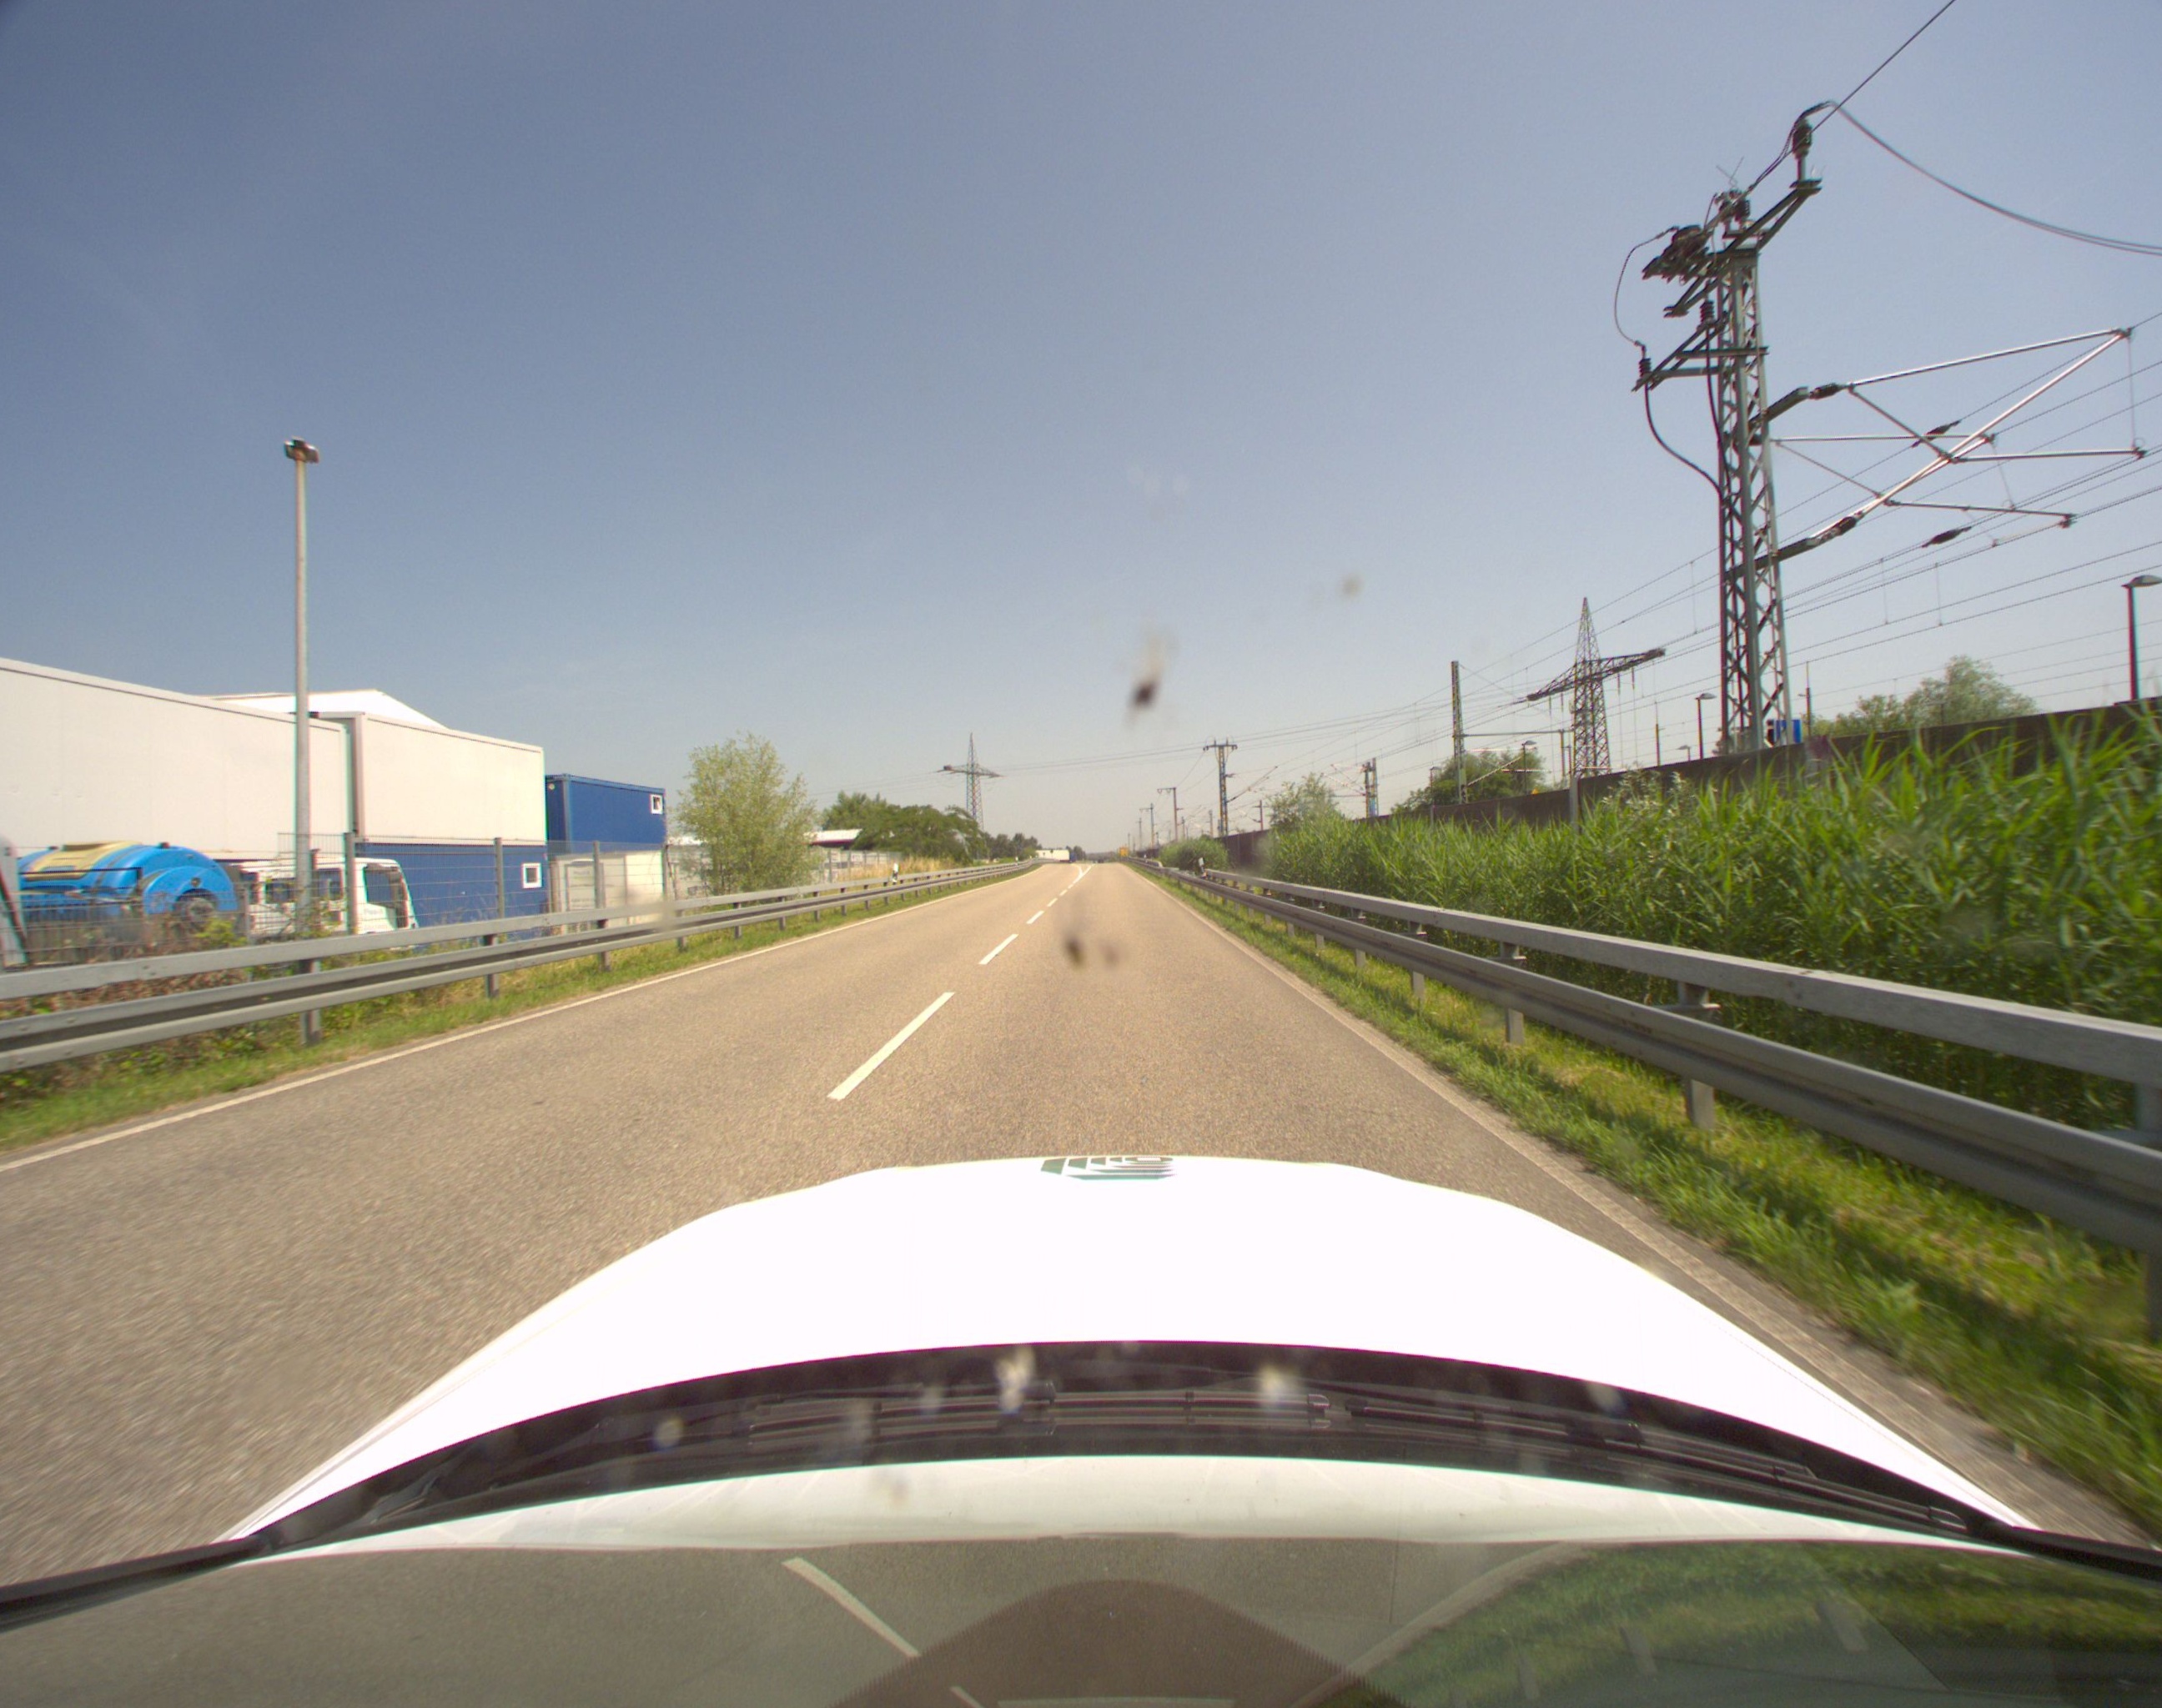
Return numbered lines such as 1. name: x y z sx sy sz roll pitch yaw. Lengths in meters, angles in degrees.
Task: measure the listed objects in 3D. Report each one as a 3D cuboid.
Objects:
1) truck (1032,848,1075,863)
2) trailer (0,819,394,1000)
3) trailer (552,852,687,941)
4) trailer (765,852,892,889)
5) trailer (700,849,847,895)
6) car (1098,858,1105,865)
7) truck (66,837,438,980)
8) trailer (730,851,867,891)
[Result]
1. truck: -6.856 0.412 199.924 10.399 3.632 2.839 0 0 -6
2. trailer: -13.196 0.627 10.992 2.197 2.004 6.966 -1 0 -3
3. trailer: -13.740 1.178 24.547 1.989 2.437 3.917 -1 0 -4
4. trailer: -12.606 0.793 40.966 5.501 1.720 2.487 -1 0 4
5. trailer: -13.314 0.757 35.594 5.368 1.848 2.544 -1 0 0
6. car: 6.359 2.290 254.799 1.988 2.013 3.997 -1 0 -2
7. truck: -13.374 0.765 13.609 2.197 2.004 3.995 -1 0 -3
8. trailer: -13.205 0.774 38.332 5.504 1.744 2.486 -1 0 2
